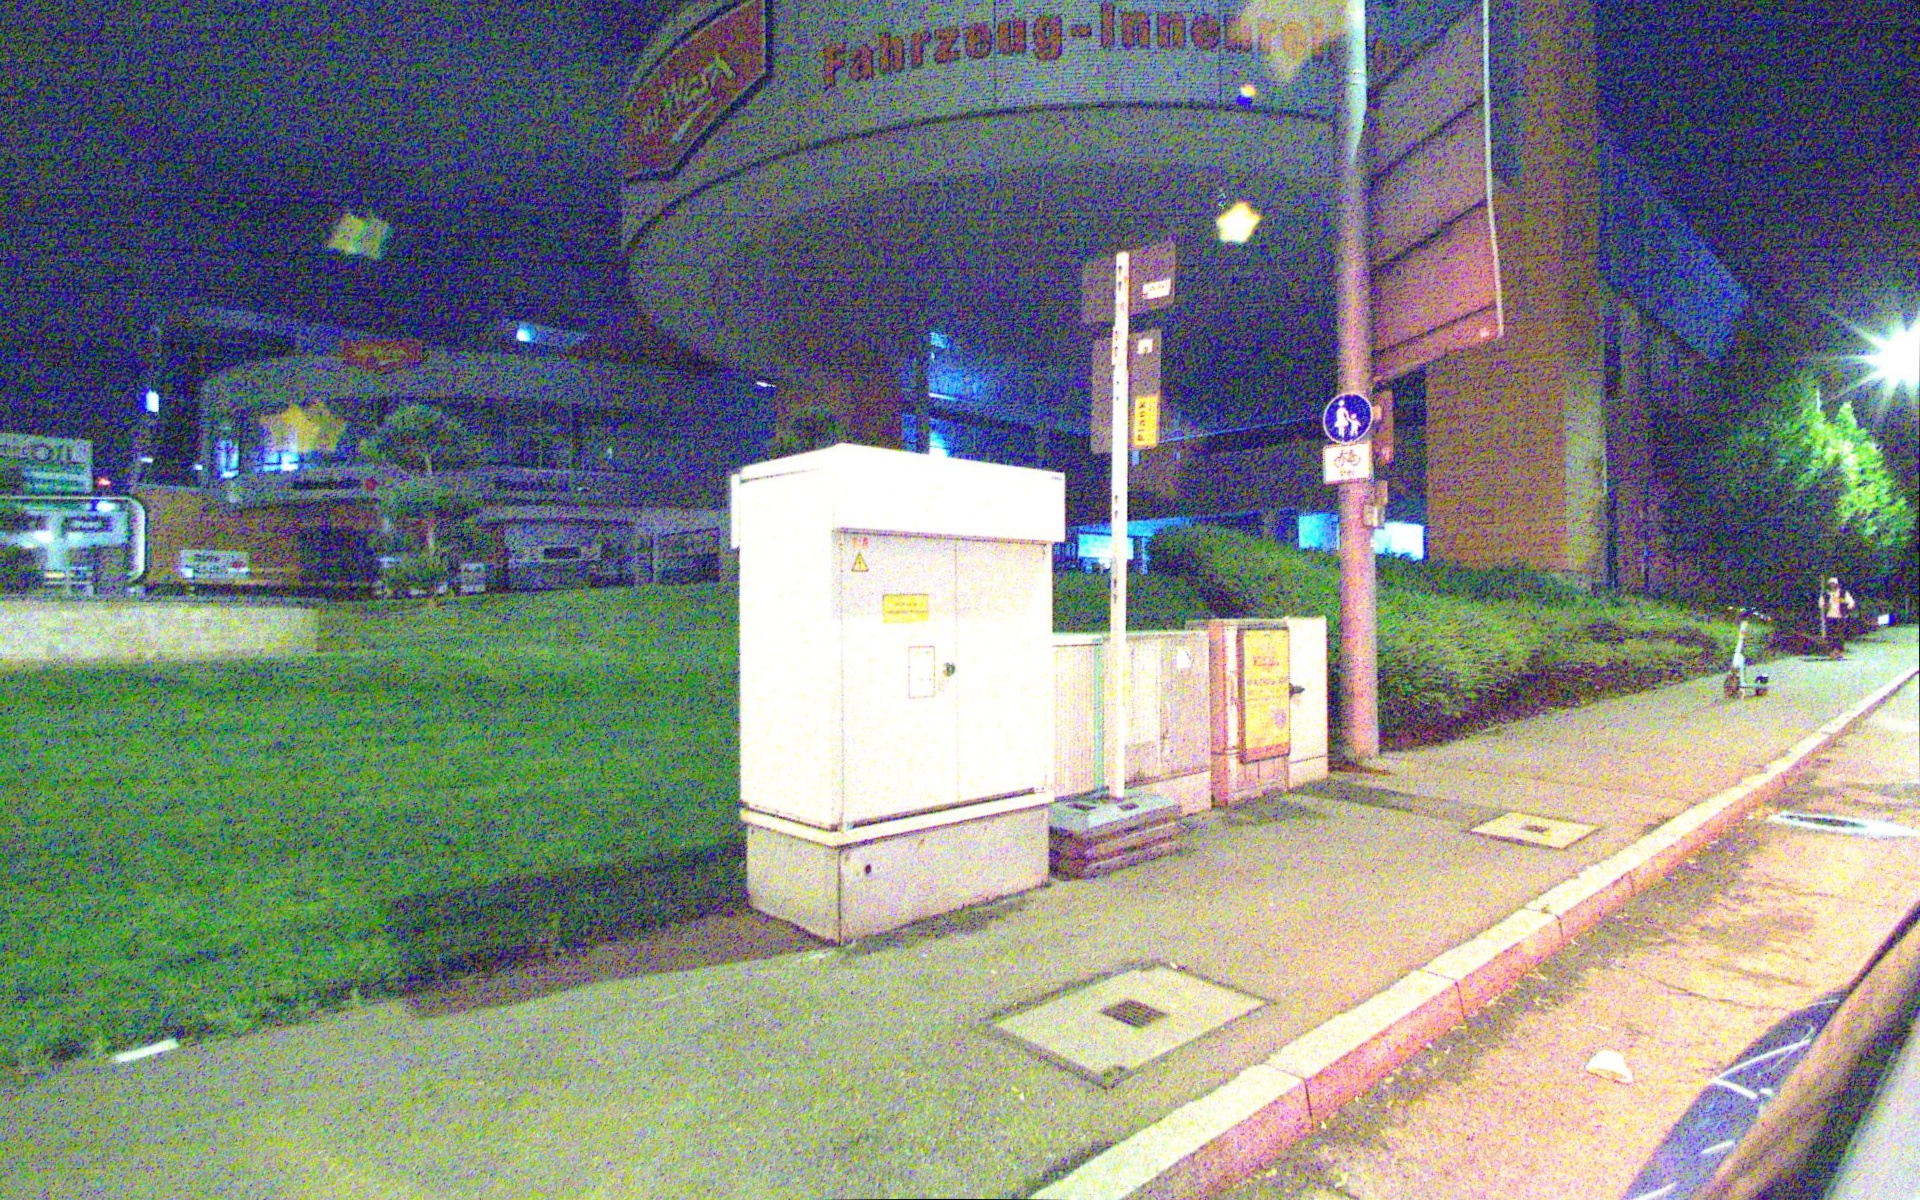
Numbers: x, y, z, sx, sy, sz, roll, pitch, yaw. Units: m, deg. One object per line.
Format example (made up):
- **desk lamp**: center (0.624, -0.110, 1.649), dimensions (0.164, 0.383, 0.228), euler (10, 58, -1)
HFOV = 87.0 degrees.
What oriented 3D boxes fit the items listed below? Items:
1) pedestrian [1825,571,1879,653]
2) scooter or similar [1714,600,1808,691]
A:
- **pedestrian**: center (21.089, 0.262, 23.918), dimensions (1.016, 1.888, 0.819), euler (0, 0, -41)
- **scooter or similar**: center (11.038, 0.622, 13.949), dimensions (1.111, 1.217, 0.470), euler (1, -1, -17)
